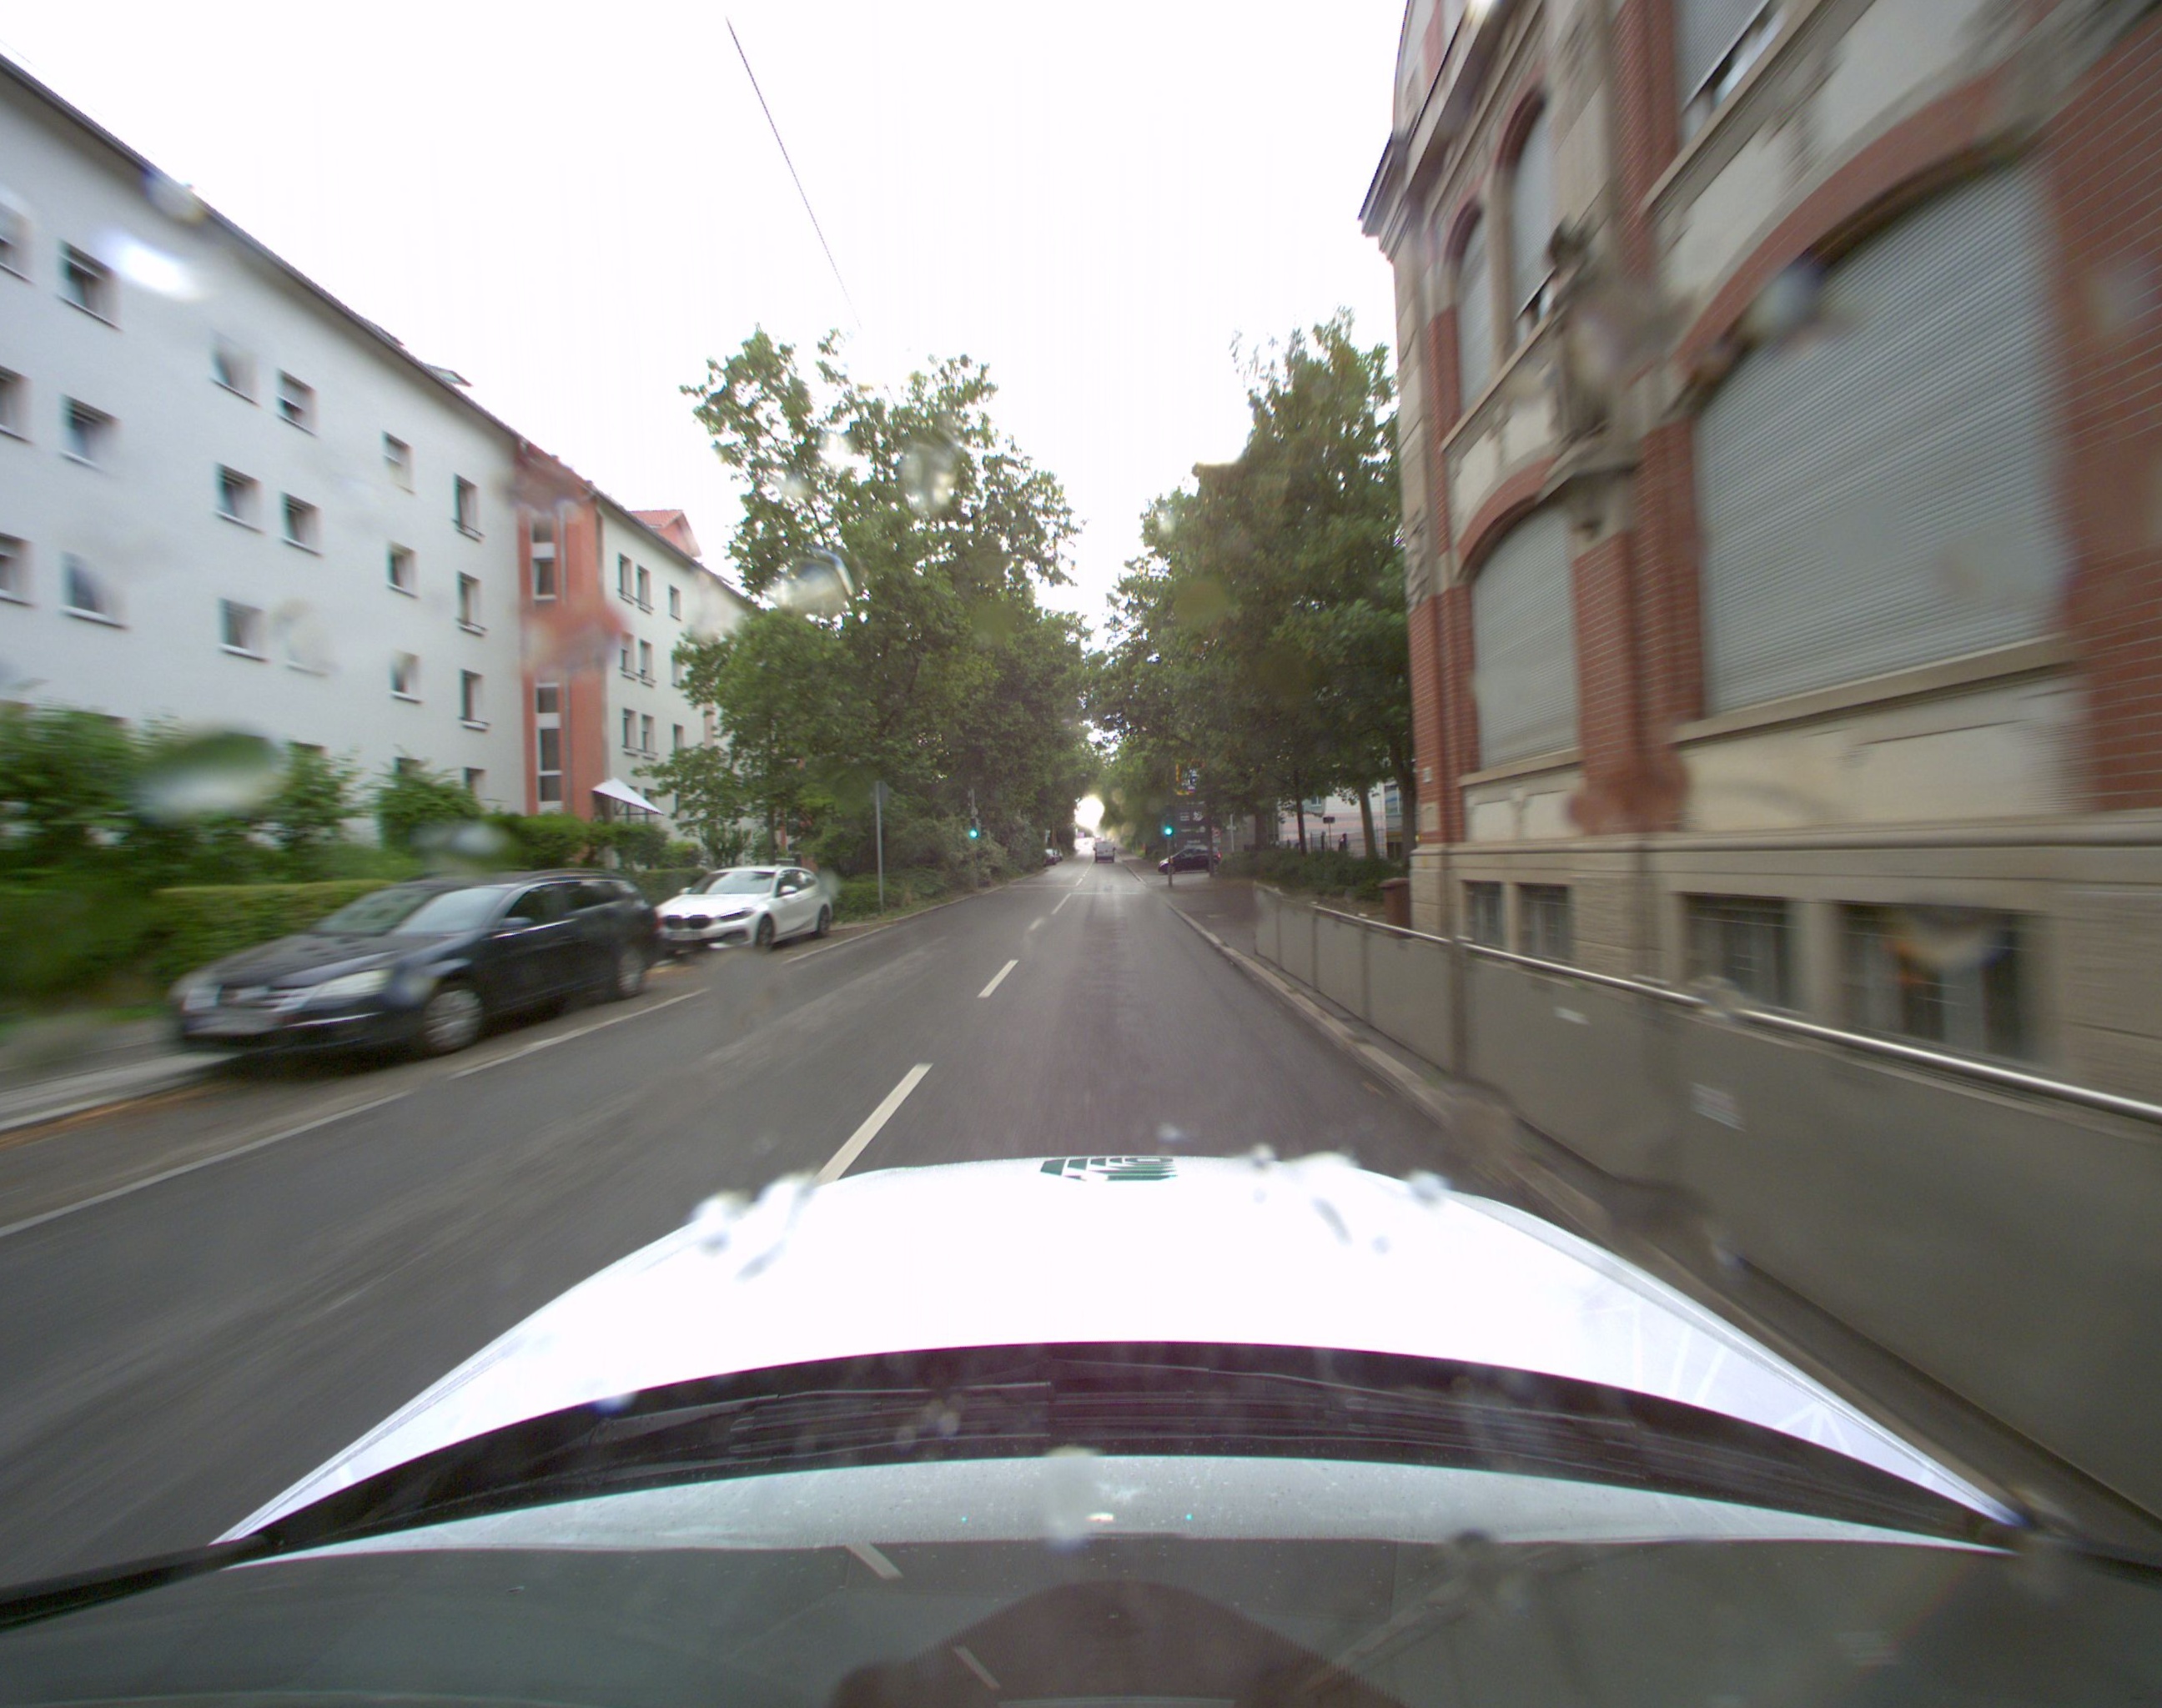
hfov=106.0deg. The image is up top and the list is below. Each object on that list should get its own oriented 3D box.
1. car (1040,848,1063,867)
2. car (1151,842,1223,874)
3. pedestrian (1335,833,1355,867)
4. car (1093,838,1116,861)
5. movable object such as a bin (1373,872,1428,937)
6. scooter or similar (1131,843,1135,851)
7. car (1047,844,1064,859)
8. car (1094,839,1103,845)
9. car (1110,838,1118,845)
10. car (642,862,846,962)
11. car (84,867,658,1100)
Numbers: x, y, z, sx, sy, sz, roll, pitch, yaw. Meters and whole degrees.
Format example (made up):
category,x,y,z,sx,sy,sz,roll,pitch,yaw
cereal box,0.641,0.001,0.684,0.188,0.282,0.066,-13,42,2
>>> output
category,x,y,z,sx,sy,sz,roll,pitch,yaw
car,-2.736,0.265,76.768,1.858,1.591,4.240,-4,1,1
car,6.291,0.231,48.710,3.842,1.547,2.023,-5,0,-5
pedestrian,14.210,-0.211,43.879,0.825,1.828,0.961,-1,0,5
car,2.505,-0.468,85.846,2.327,2.231,4.002,-3,0,2
movable object such as a bin,4.949,0.774,12.647,0.588,0.932,0.572,-4,0,1
scooter or similar,7.577,-1.069,118.516,0.424,1.142,1.528,0,-1,0
car,-2.906,-0.290,93.416,1.642,1.537,4.019,-6,1,1
car,4.883,-3.360,225.999,2.149,1.709,3.879,0,-1,6
car,9.163,-3.400,223.908,1.921,1.709,3.879,0,-1,6
car,-5.831,0.924,14.726,1.710,1.467,4.312,-1,0,2
car,-5.878,0.900,7.614,1.712,1.467,4.230,-1,0,-2
